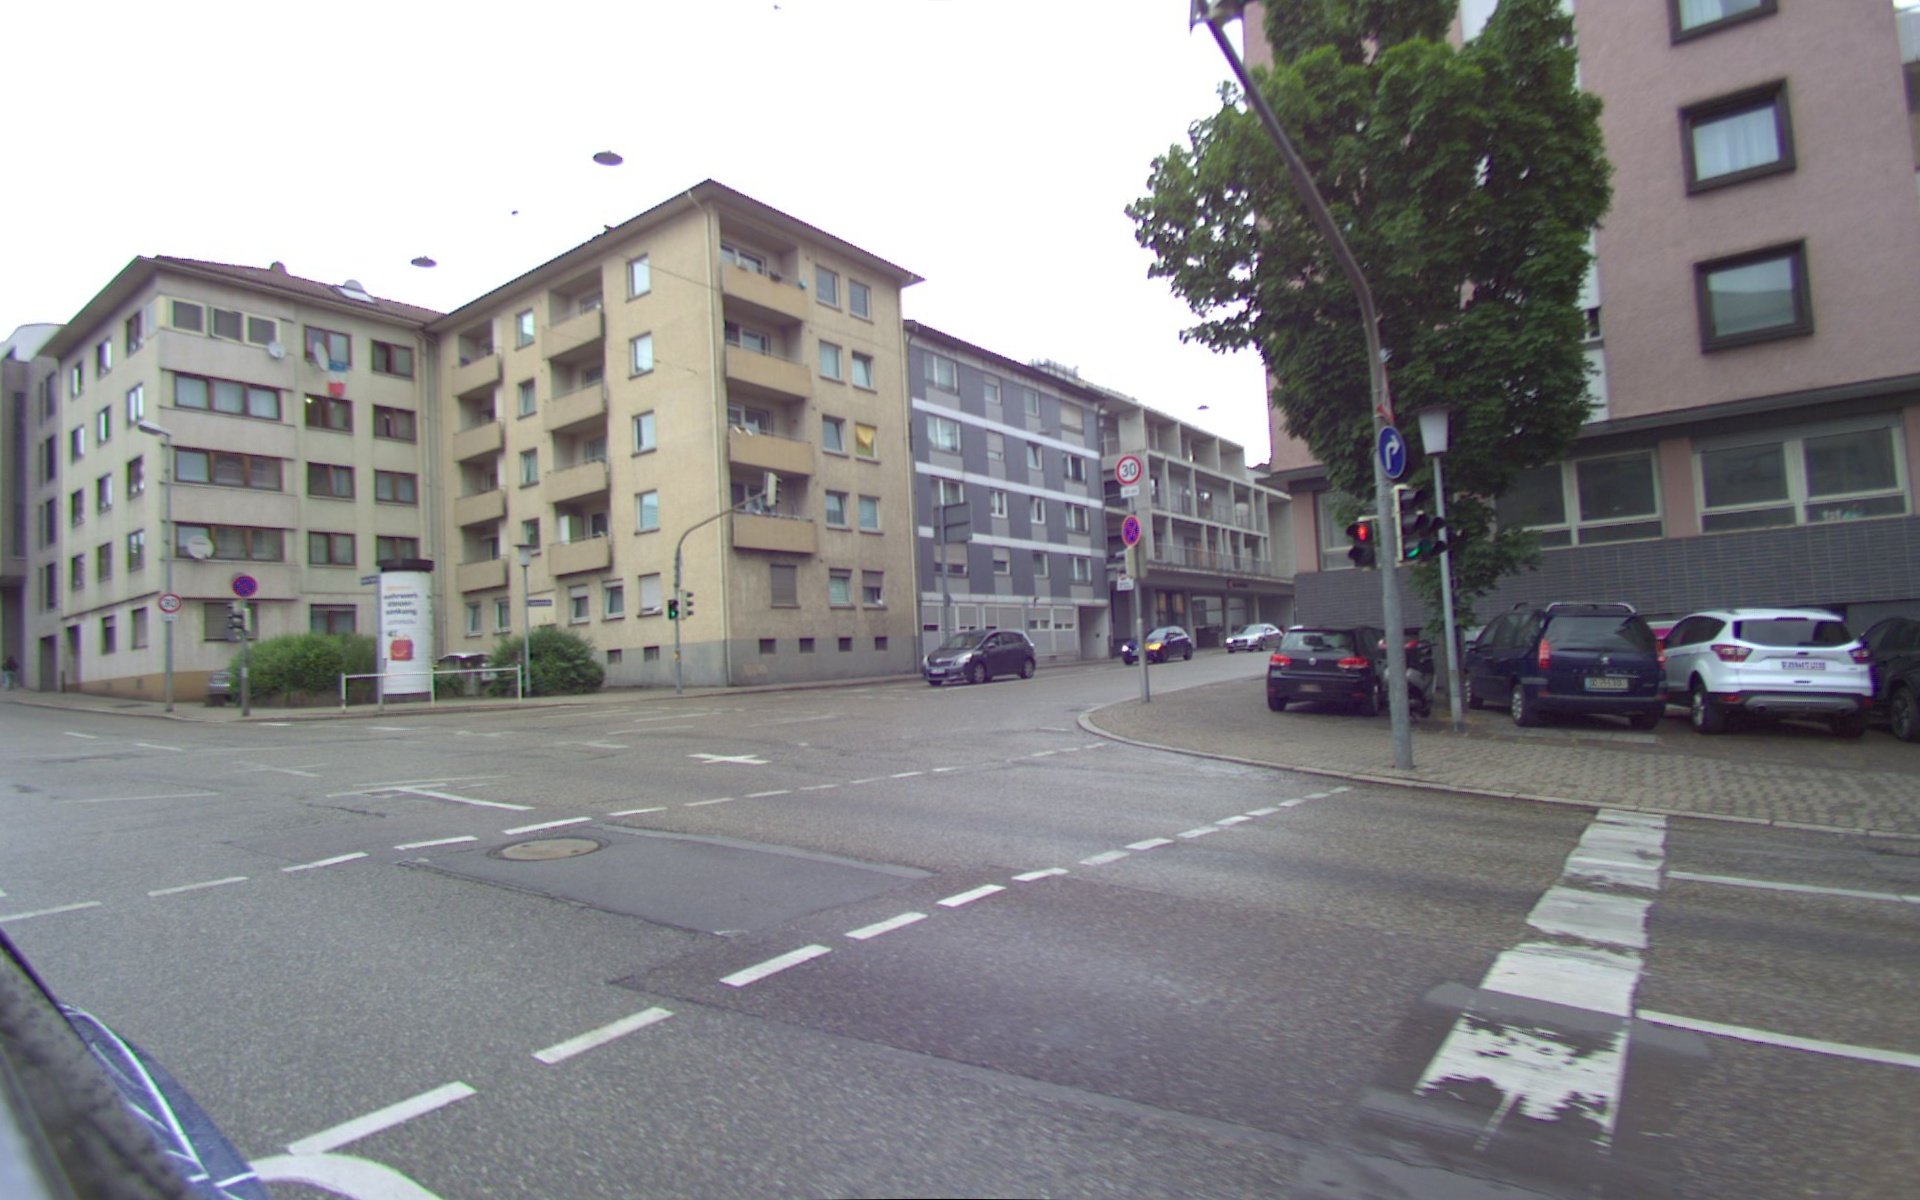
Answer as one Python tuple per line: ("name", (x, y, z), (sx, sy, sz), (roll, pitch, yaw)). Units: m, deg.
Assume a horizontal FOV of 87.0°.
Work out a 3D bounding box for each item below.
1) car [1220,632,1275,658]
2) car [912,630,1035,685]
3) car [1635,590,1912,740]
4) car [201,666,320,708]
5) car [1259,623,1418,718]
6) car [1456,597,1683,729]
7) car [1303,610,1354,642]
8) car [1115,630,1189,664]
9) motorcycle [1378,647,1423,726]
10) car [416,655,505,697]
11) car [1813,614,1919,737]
("car", (14.448, 2.245, 50.811), (1.545, 1.076, 3.057), (-7, -4, 37))
("car", (0.474, 1.698, 30.622), (1.729, 1.492, 4.024), (-6, -5, 34))
("car", (11.279, 0.852, 14.414), (1.847, 1.807, 3.973), (0, -2, 20))
("car", (-25.044, 3.097, 36.318), (1.379, 1.201, 3.223), (-6, -3, 36))
("car", (6.725, 1.147, 17.741), (1.733, 1.370, 3.954), (-2, -1, 34))
("car", (9.240, 0.884, 15.785), (1.756, 1.741, 4.328), (0, -1, 13))
("car", (22.283, 1.571, 61.133), (1.720, 1.674, 3.632), (-7, -4, 37))
("car", (7.802, 1.879, 40.908), (1.687, 1.157, 3.959), (-3, -2, 30))
("motorcycle", (6.543, 1.248, 14.990), (0.451, 1.040, 1.778), (-3, -2, 27))
("car", (-19.587, 2.958, 39.647), (3.317, 1.485, 1.745), (-3, -2, 35))
("car", (13.047, 0.940, 13.130), (1.848, 1.507, 3.970), (0, -1, 22))
